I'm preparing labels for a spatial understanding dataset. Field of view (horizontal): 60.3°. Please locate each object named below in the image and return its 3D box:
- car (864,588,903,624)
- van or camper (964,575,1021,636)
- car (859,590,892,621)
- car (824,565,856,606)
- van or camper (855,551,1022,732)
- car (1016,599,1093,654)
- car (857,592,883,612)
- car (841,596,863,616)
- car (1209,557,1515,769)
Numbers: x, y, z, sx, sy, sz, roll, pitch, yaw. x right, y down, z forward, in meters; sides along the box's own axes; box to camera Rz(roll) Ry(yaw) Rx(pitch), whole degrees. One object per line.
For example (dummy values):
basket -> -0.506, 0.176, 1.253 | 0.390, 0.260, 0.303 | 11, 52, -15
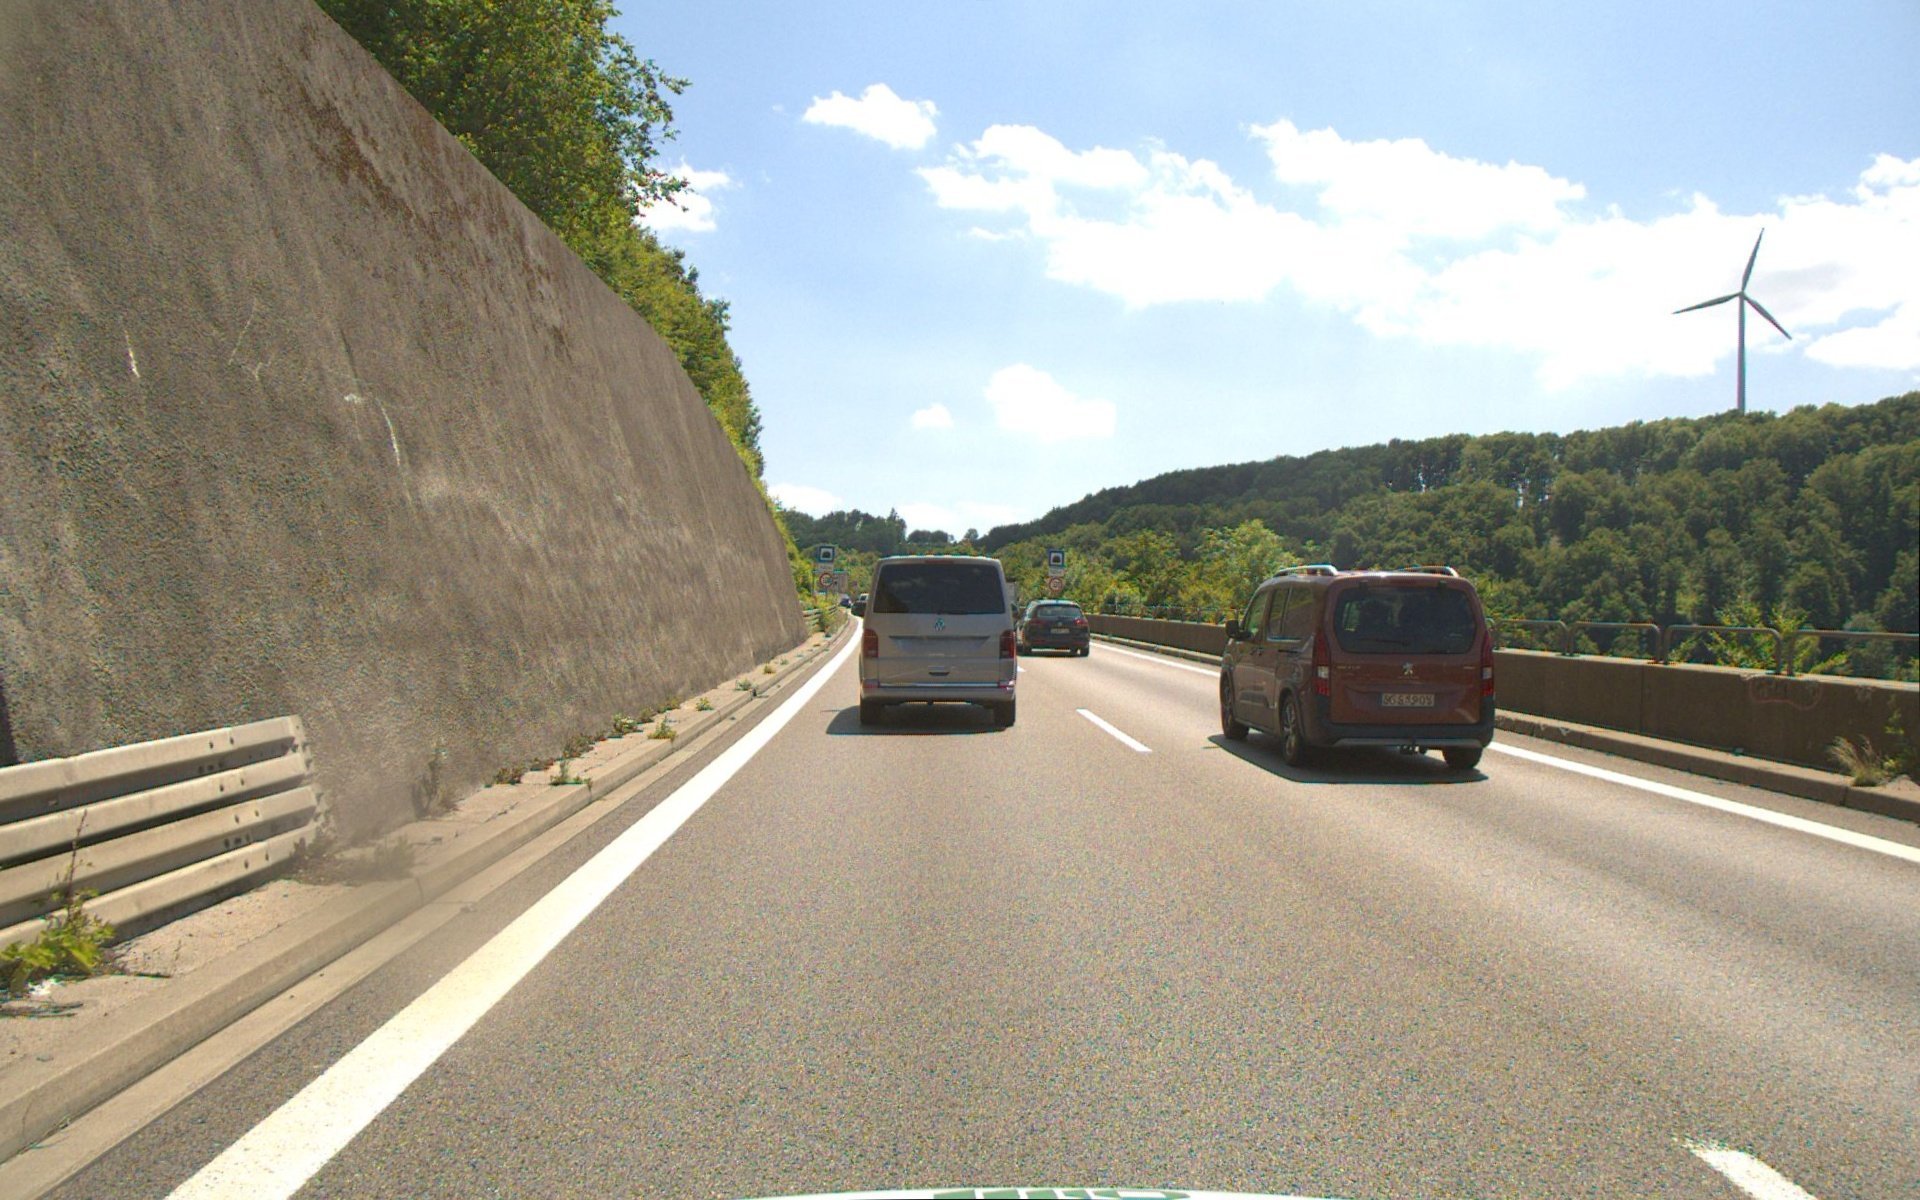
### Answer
car -> -4.108, 0.301, 87.970 | 1.954, 1.849, 3.997 | 0, 0, -4
van or camper -> 1.397, 0.250, 73.996 | 2.218, 2.596, 4.734 | -1, 0, -2
car -> -5.386, 0.351, 105.286 | 1.955, 1.948, 3.996 | 0, 0, -5
car -> -15.291, -1.826, 209.882 | 3.964, 4.956, 10.099 | 0, 0, -5
van or camper -> -0.247, 0.439, 20.621 | 1.837, 1.983, 4.294 | 1, 1, 0
car -> 2.511, 0.695, 44.629 | 1.733, 1.400, 3.591 | 1, 0, -2
car -> -7.618, 0.132, 139.484 | 2.101, 1.635, 5.073 | 0, 0, -5
car -> -11.034, 0.609, 168.956 | 1.953, 2.049, 3.999 | -1, 0, 0
car -> 3.833, 0.558, 16.653 | 1.796, 1.815, 4.674 | 0, 0, -2
